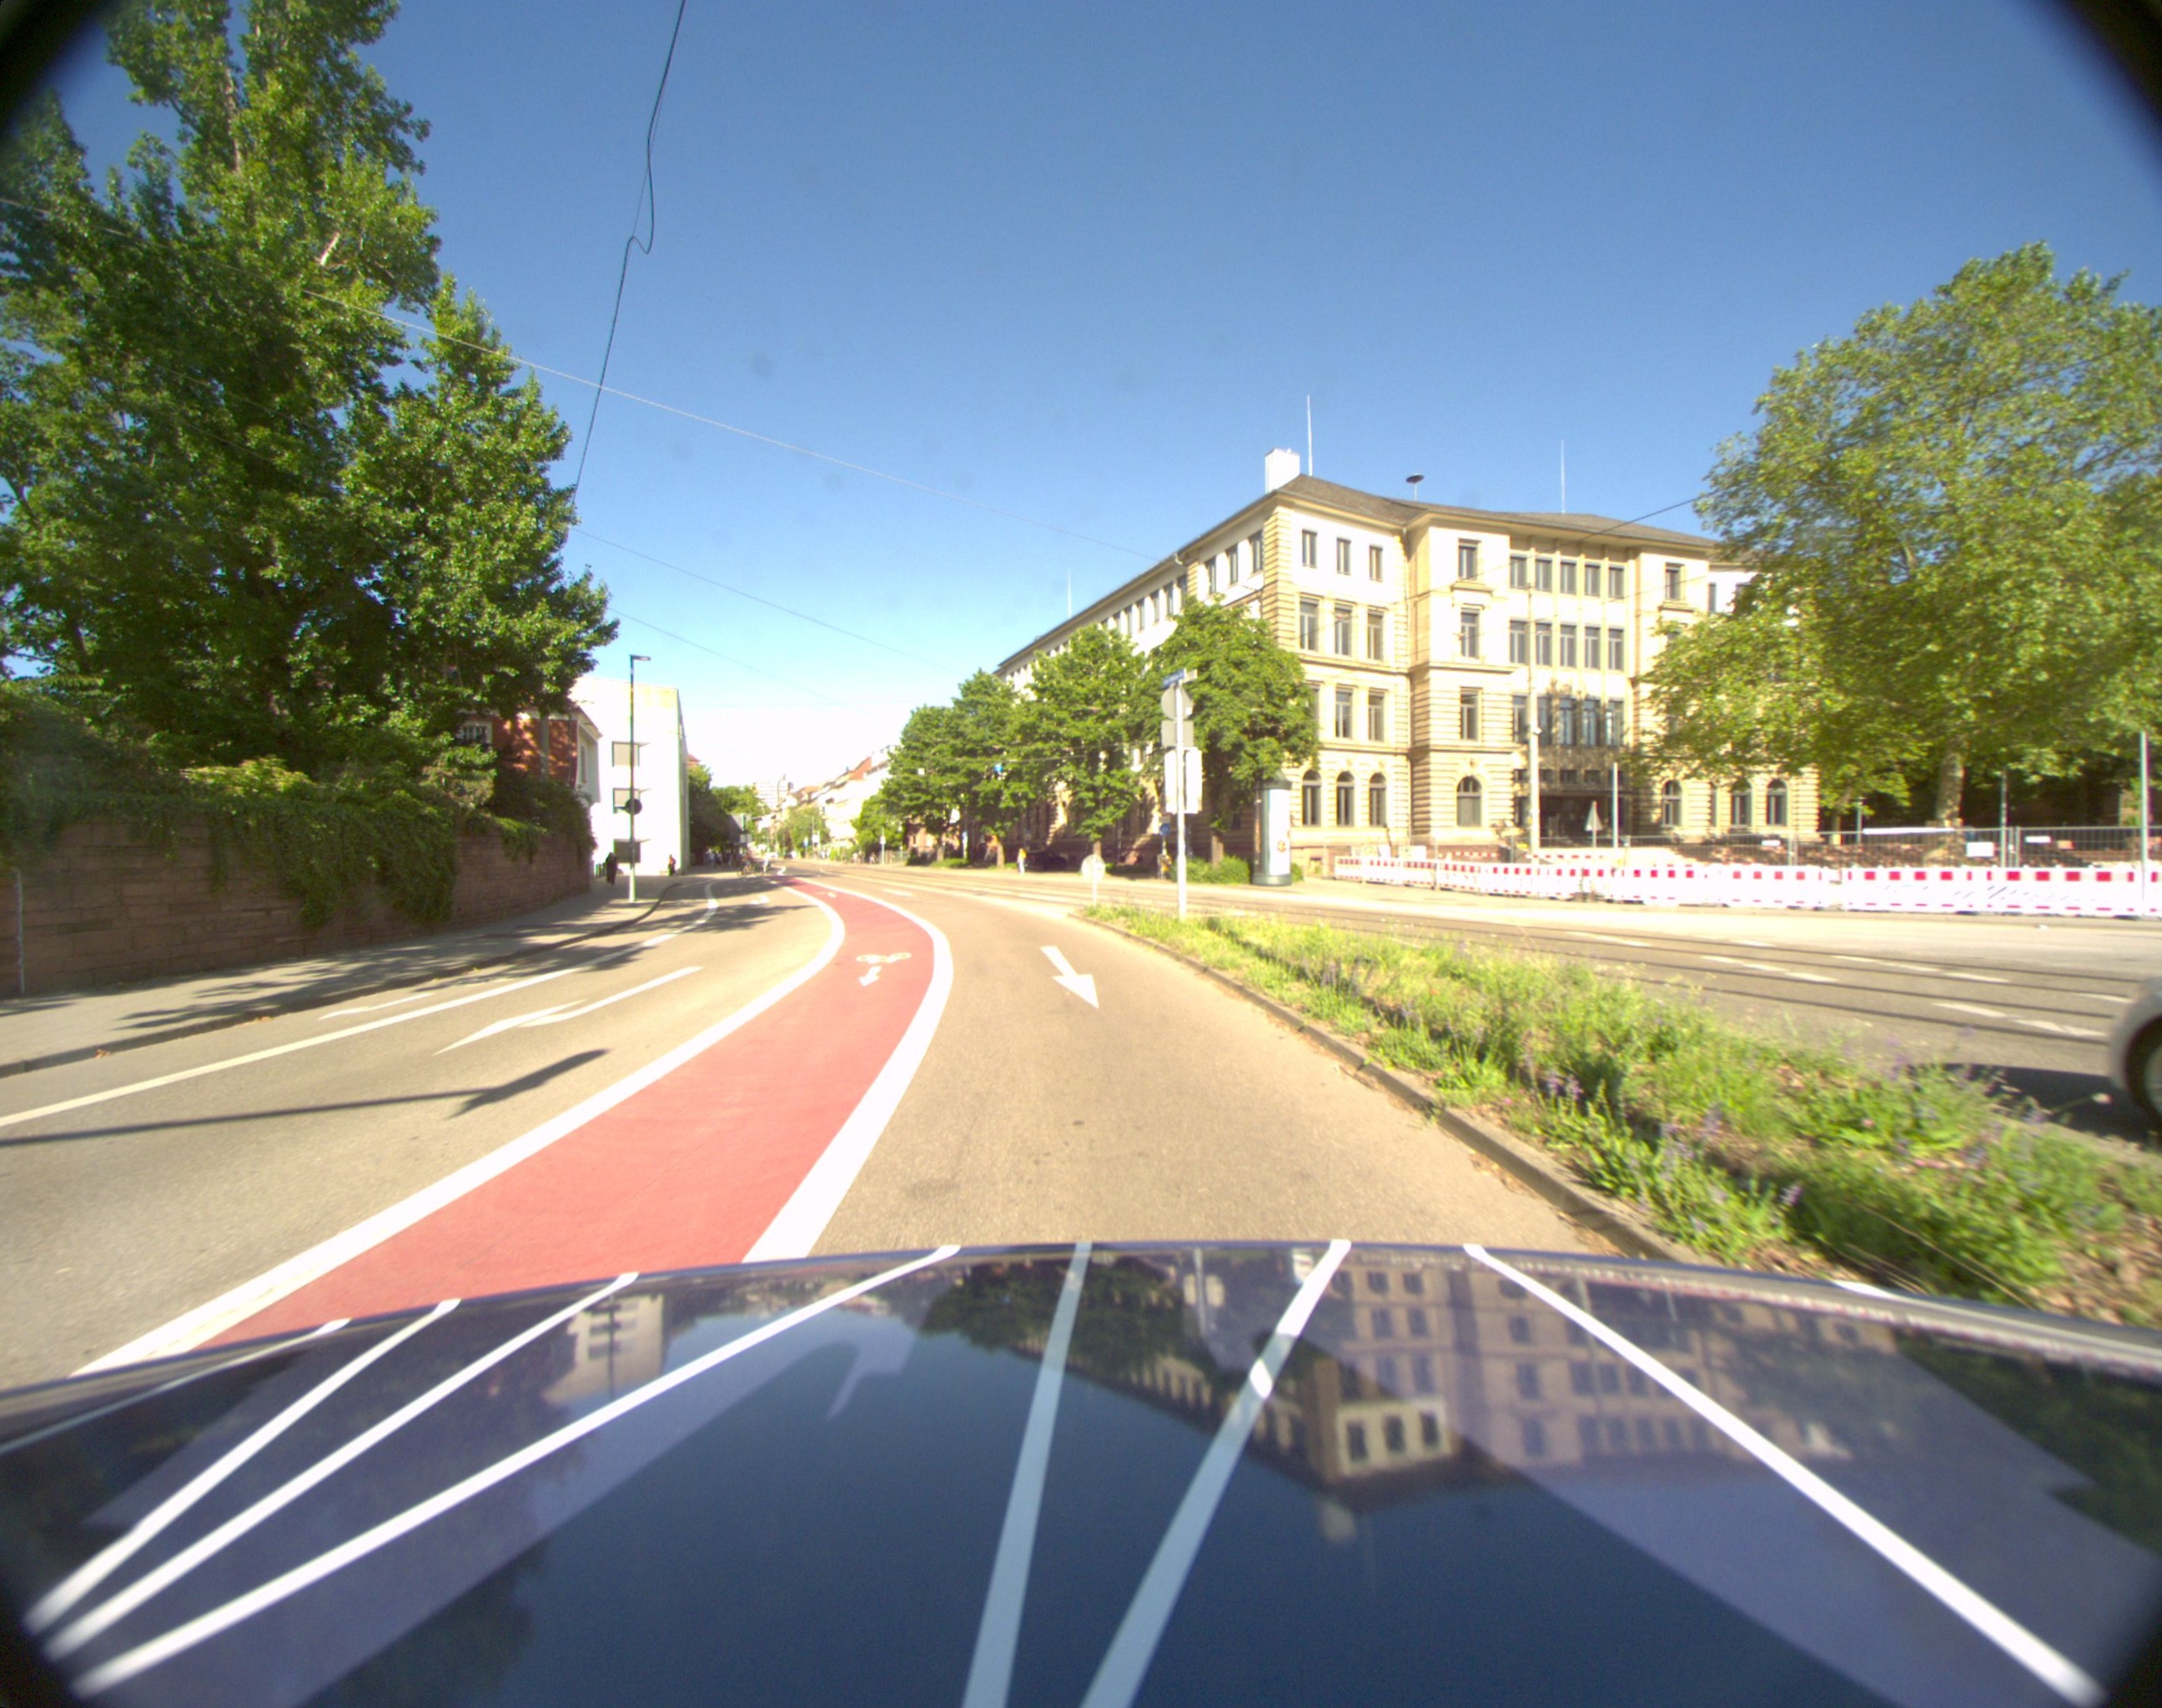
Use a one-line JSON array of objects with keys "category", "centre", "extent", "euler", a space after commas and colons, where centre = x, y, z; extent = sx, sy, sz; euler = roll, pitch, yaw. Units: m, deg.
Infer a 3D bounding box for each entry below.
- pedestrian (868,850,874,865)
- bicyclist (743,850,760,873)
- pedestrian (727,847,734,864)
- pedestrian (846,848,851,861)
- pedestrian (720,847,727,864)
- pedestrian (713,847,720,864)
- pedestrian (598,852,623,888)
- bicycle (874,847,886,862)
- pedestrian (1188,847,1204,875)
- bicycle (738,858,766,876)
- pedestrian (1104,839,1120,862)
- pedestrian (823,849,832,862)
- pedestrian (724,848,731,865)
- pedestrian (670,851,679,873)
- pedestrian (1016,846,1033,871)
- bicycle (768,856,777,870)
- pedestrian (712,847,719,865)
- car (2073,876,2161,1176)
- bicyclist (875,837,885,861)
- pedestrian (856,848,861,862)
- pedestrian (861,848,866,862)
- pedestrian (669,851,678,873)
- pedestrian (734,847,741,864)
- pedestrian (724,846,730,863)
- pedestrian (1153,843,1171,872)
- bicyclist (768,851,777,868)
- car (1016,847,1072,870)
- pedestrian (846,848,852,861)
[{"category": "pedestrian", "centre": [-25.572, 0.389, 92.490], "extent": [0.580, 1.845, 0.652], "euler": [-1, 1, -30]}, {"category": "bicyclist", "centre": [-22.619, 0.499, 52.142], "extent": [0.881, 1.574, 0.743], "euler": [-3, 3, -36]}, {"category": "pedestrian", "centre": [-35.836, 0.159, 77.669], "extent": [0.589, 1.796, 0.519], "euler": [-1, 1, -27]}, {"category": "pedestrian", "centre": [-32.303, 0.055, 105.511], "extent": [0.579, 1.845, 0.683], "euler": [-1, 1, -25]}, {"category": "pedestrian", "centre": [-36.462, 0.159, 77.428], "extent": [0.589, 1.796, 0.544], "euler": [-1, 1, -27]}, {"category": "pedestrian", "centre": [-37.640, 0.139, 78.418], "extent": [0.589, 1.796, 0.581], "euler": [-1, 1, -27]}, {"category": "pedestrian", "centre": [-22.704, 0.773, 36.692], "extent": [0.942, 1.668, 0.952], "euler": [2, 1, -27]}, {"category": "bicycle", "centre": [-25.911, 0.033, 98.081], "extent": [1.004, 1.877, 3.889], "euler": [-2, 2, -8]}, {"category": "pedestrian", "centre": [6.254, 0.370, 41.473], "extent": [0.579, 1.553, 0.652], "euler": [-1, 1, -25]}, {"category": "bicycle", "centre": [-22.592, 0.880, 52.173], "extent": [1.601, 1.145, 0.743], "euler": [-3, 3, -36]}, {"category": "pedestrian", "centre": [2.158, -0.265, 52.999], "extent": [0.674, 1.558, 0.856], "euler": [-6, 4, -30]}, {"category": "pedestrian", "centre": [-33.350, 0.157, 99.979], "extent": [0.933, 1.728, 0.677], "euler": [-2, 2, -45]}, {"category": "pedestrian", "centre": [-36.695, 0.255, 78.938], "extent": [0.589, 1.796, 0.581], "euler": [-1, 1, -27]}, {"category": "pedestrian", "centre": [-28.907, 0.565, 54.004], "extent": [0.521, 1.557, 0.533], "euler": [-1, 1, -26]}, {"category": "pedestrian", "centre": [-3.911, 0.333, 52.704], "extent": [0.773, 1.658, 1.032], "euler": [1, -3, -30]}, {"category": "bicycle", "centre": [-26.560, 0.773, 65.398], "extent": [0.666, 1.146, 1.668], "euler": [-3, 2, -22]}, {"category": "pedestrian", "centre": [-37.097, 0.187, 77.129], "extent": [0.589, 1.796, 0.544], "euler": [-1, 1, -27]}, {"category": "car", "centre": [5.648, 0.841, 1.721], "extent": [1.803, 1.385, 4.095], "euler": [1, 1, 10]}, {"category": "bicyclist", "centre": [-25.904, -0.634, 97.871], "extent": [1.004, 2.959, 1.472], "euler": [-2, 3, -9]}, {"category": "pedestrian", "centre": [-29.622, 0.149, 101.189], "extent": [0.579, 1.845, 0.683], "euler": [-1, 1, -25]}, {"category": "pedestrian", "centre": [-29.034, 0.122, 101.510], "extent": [0.579, 1.845, 0.683], "euler": [-1, 1, -25]}, {"category": "pedestrian", "centre": [-28.654, 0.577, 53.475], "extent": [0.521, 1.557, 0.533], "euler": [-1, 1, -26]}, {"category": "pedestrian", "centre": [-35.340, 0.176, 78.146], "extent": [0.589, 1.717, 0.519], "euler": [-1, 1, -27]}, {"category": "pedestrian", "centre": [-37.510, 0.006, 80.472], "extent": [0.589, 1.796, 0.544], "euler": [-1, 1, -27]}, {"category": "pedestrian", "centre": [4.759, 0.218, 44.678], "extent": [0.730, 1.660, 0.844], "euler": [-1, 4, -15]}, {"category": "bicyclist", "centre": [-26.563, 0.461, 65.366], "extent": [0.666, 1.453, 0.621], "euler": [-3, 3, -22]}, {"category": "car", "centre": [-2.664, 0.292, 55.470], "extent": [1.915, 1.565, 4.118], "euler": [0, 1, 37]}, {"category": "pedestrian", "centre": [-32.261, 0.068, 105.535], "extent": [0.730, 1.845, 0.653], "euler": [-1, 1, -23]}]
